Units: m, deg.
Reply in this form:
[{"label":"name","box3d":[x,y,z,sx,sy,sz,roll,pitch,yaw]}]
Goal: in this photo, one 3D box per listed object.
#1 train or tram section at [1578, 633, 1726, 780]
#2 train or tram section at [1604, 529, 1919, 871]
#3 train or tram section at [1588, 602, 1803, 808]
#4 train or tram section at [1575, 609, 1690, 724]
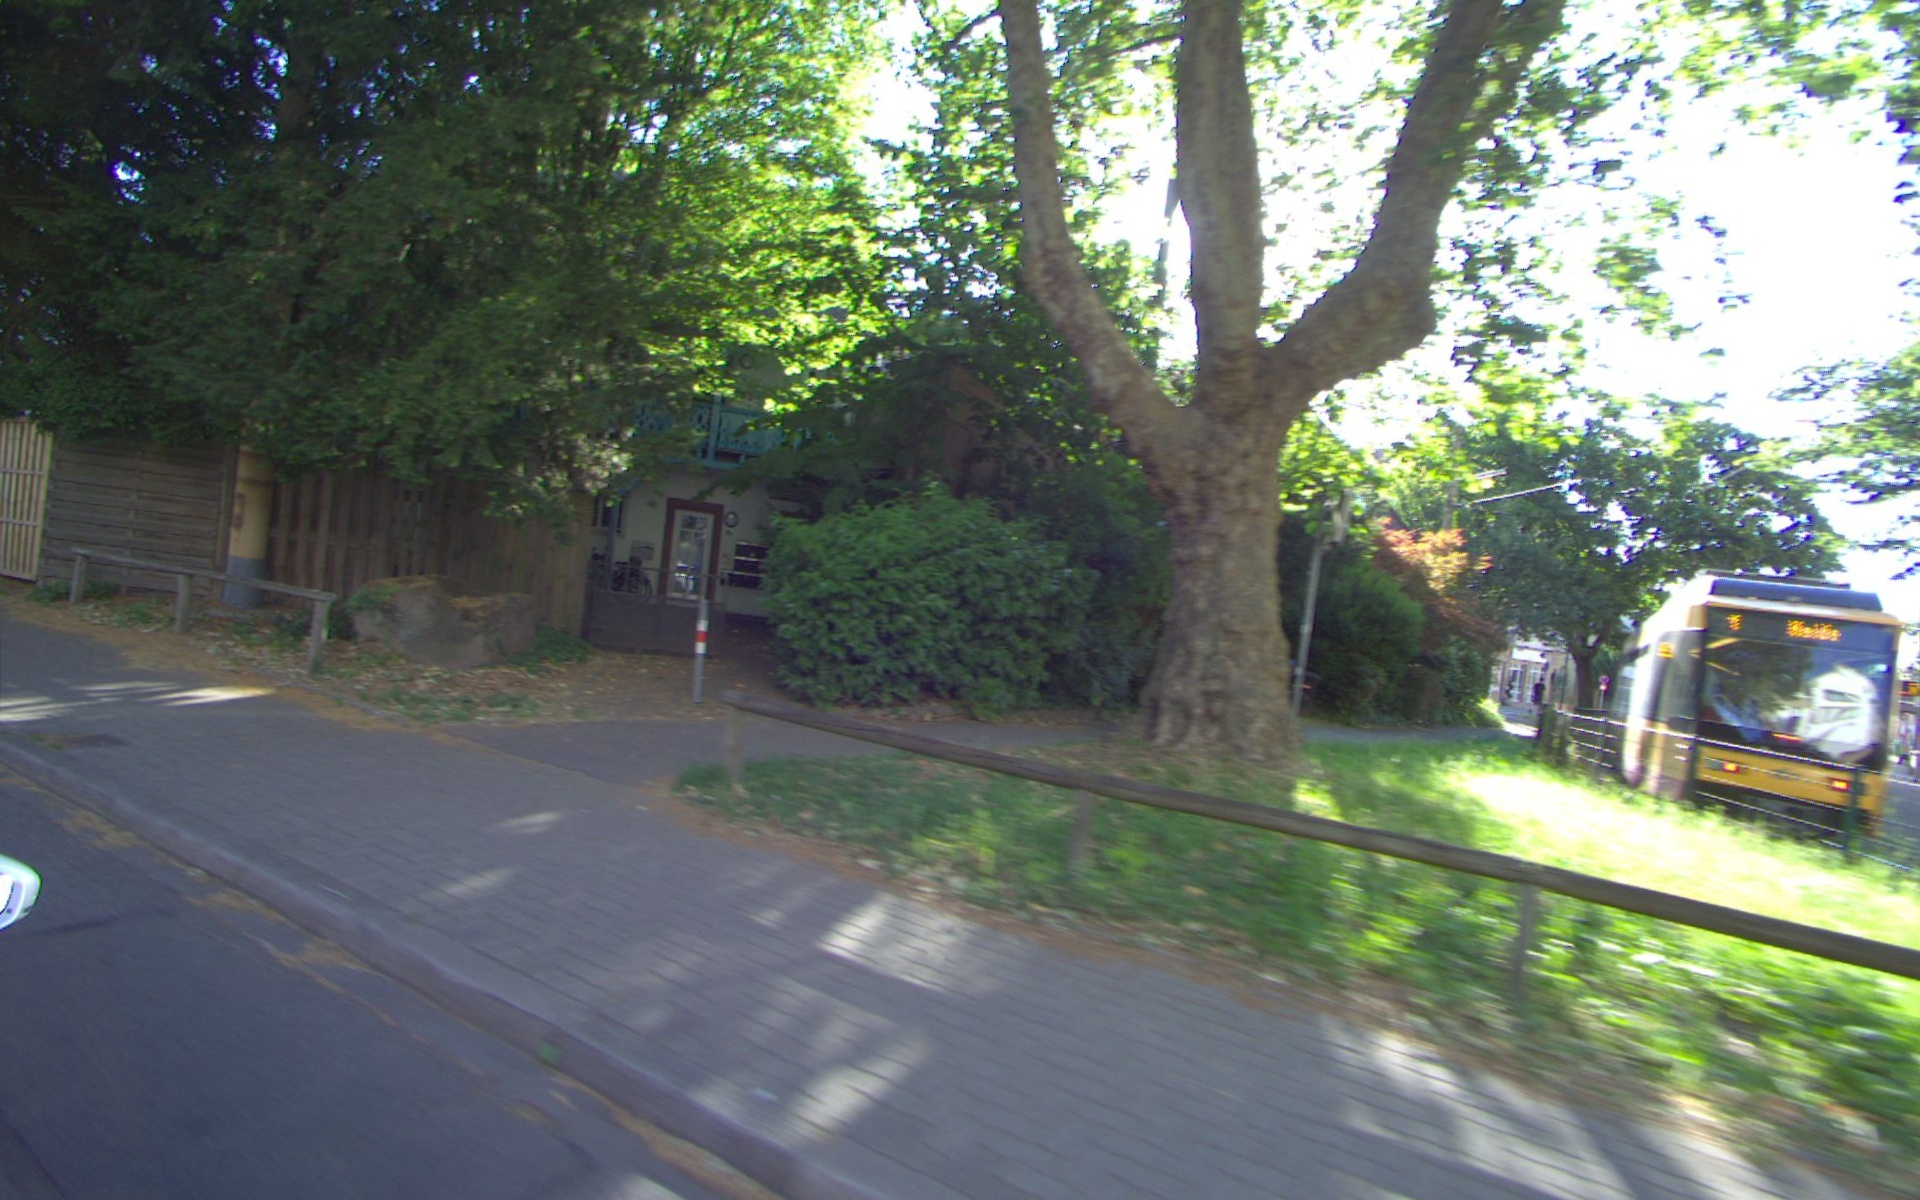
[{"label":"train or tram section","box3d":[21.232,3.305,31.377,2.751,3.560,9.258,8,-1,31]},{"label":"train or tram section","box3d":[12.021,1.503,15.539,2.751,3.560,9.257,8,-1,31]},{"label":"train or tram section","box3d":[16.638,2.405,23.440,2.751,3.560,9.257,8,-1,31]},{"label":"train or tram section","box3d":[26.151,2.786,39.567,2.801,3.643,9.854,8,-1,31]}]
